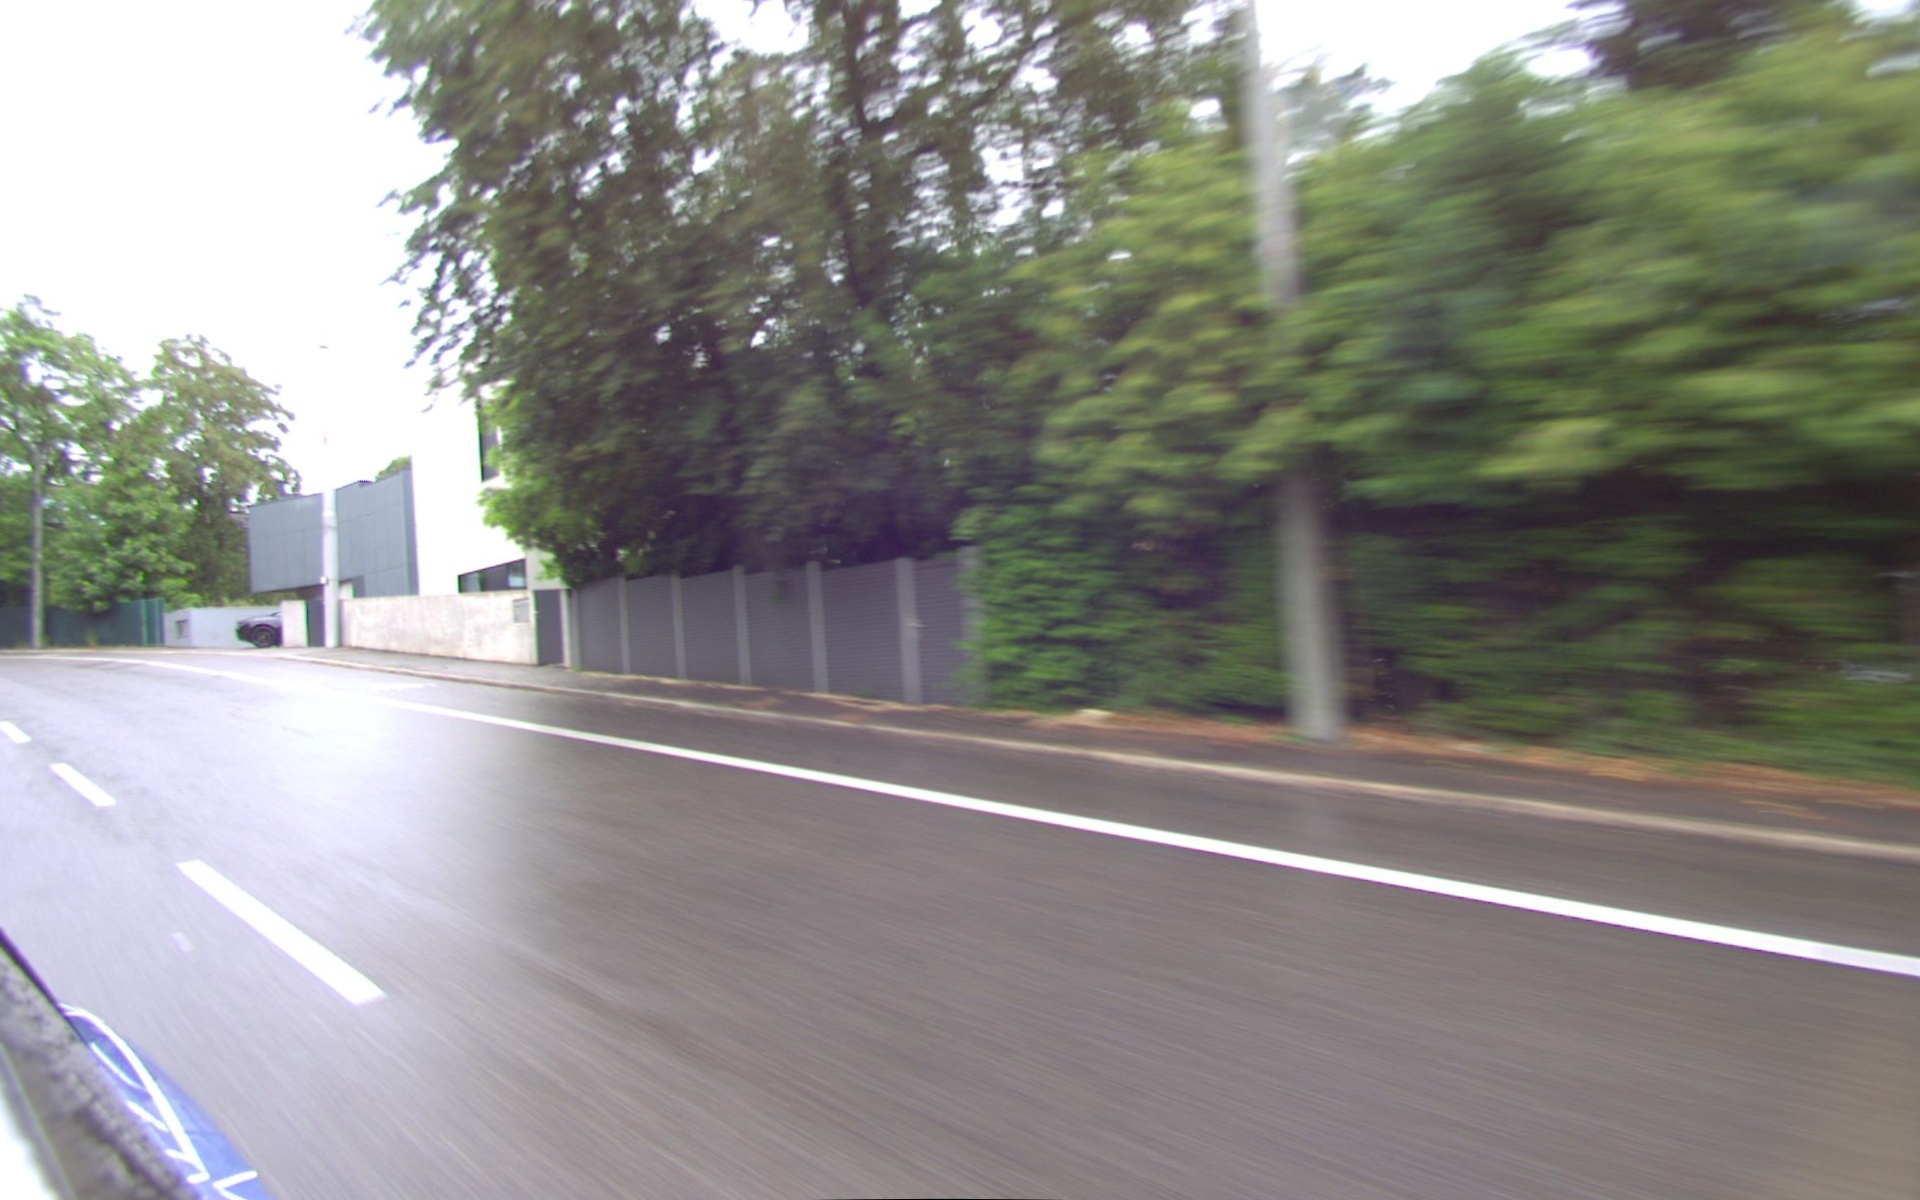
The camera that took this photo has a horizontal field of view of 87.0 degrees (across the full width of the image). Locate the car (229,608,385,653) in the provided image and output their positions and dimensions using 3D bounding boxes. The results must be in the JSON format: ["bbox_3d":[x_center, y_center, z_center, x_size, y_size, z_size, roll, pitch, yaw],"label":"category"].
[{"bbox_3d":[-21.582,0.971,33.595,3.933,1.311,1.902,-2,0,-13],"label":"car"}]
